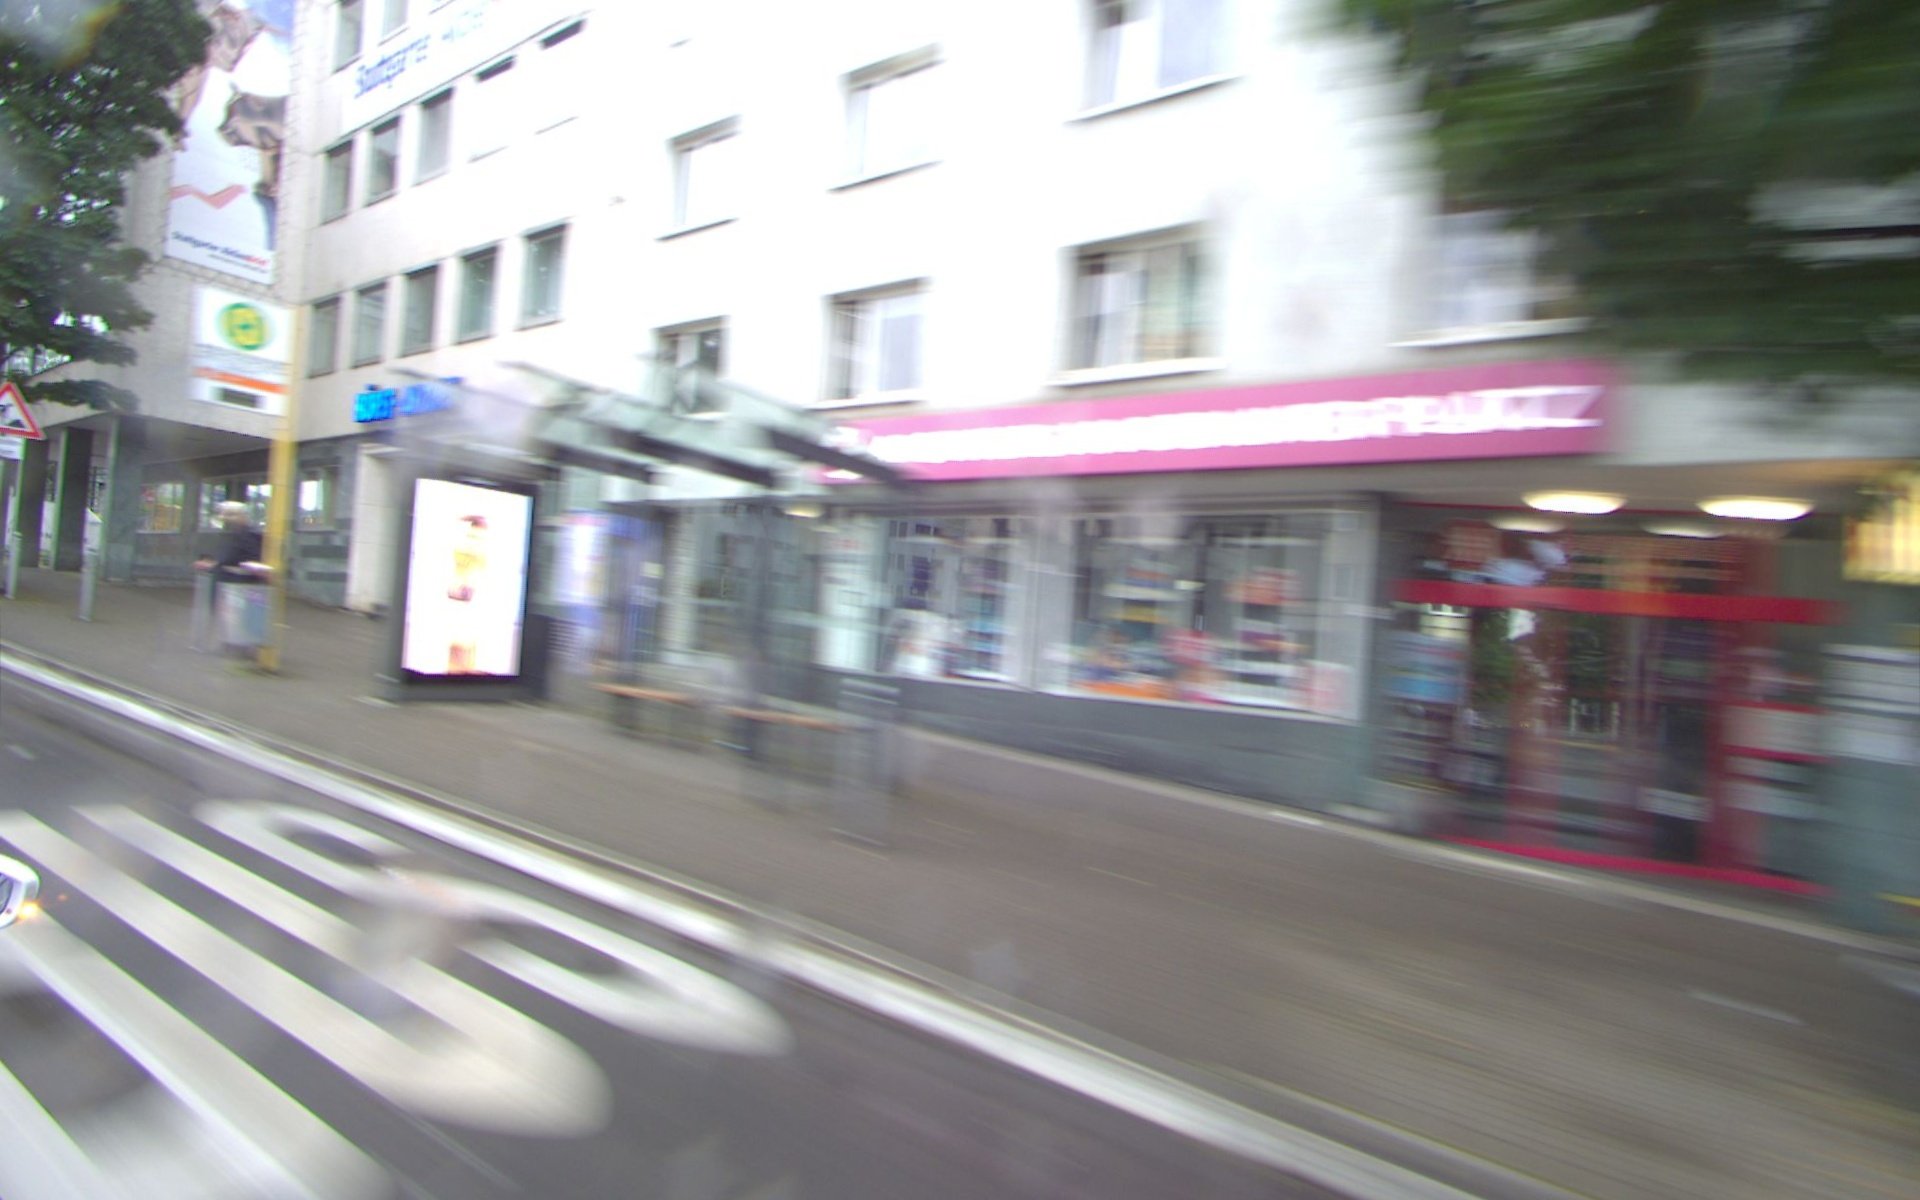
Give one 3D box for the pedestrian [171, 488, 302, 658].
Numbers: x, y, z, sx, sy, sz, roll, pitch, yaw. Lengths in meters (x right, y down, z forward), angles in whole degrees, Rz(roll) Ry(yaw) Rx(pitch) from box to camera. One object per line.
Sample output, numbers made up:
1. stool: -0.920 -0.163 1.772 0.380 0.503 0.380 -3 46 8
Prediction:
1. pedestrian: -7.568 -0.280 10.532 0.952 1.646 0.666 6 0 32
